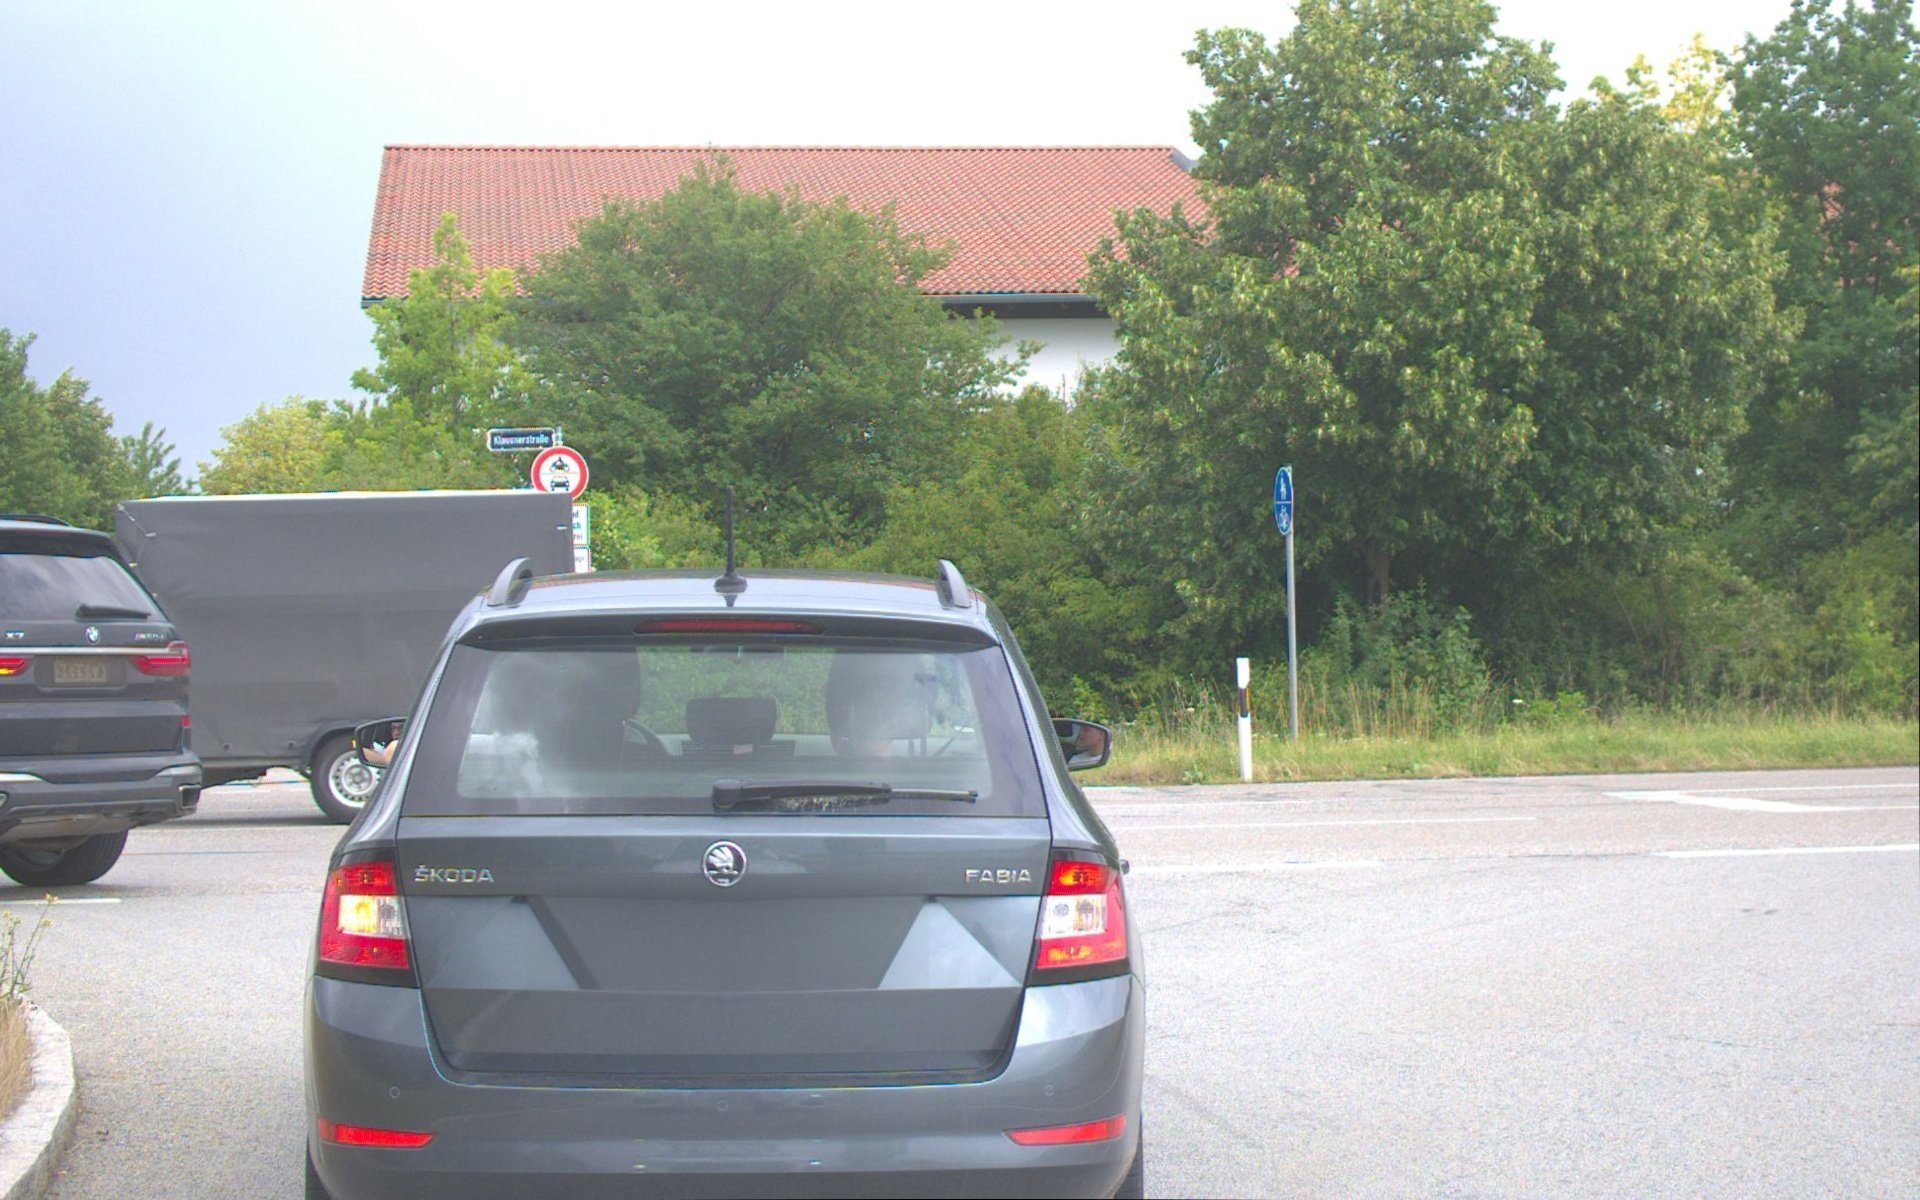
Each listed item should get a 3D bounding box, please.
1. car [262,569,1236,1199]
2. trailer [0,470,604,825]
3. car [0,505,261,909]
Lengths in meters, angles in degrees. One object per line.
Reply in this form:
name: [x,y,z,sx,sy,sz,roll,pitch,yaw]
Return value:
car: [-0.576,0.666,7.756,1.676,1.458,3.708,0,0,-7]
trailer: [-4.833,0.326,24.420,4.380,2.285,2.418,-2,-1,-9]
car: [-5.884,0.493,16.821,4.636,1.768,1.997,-1,0,29]
